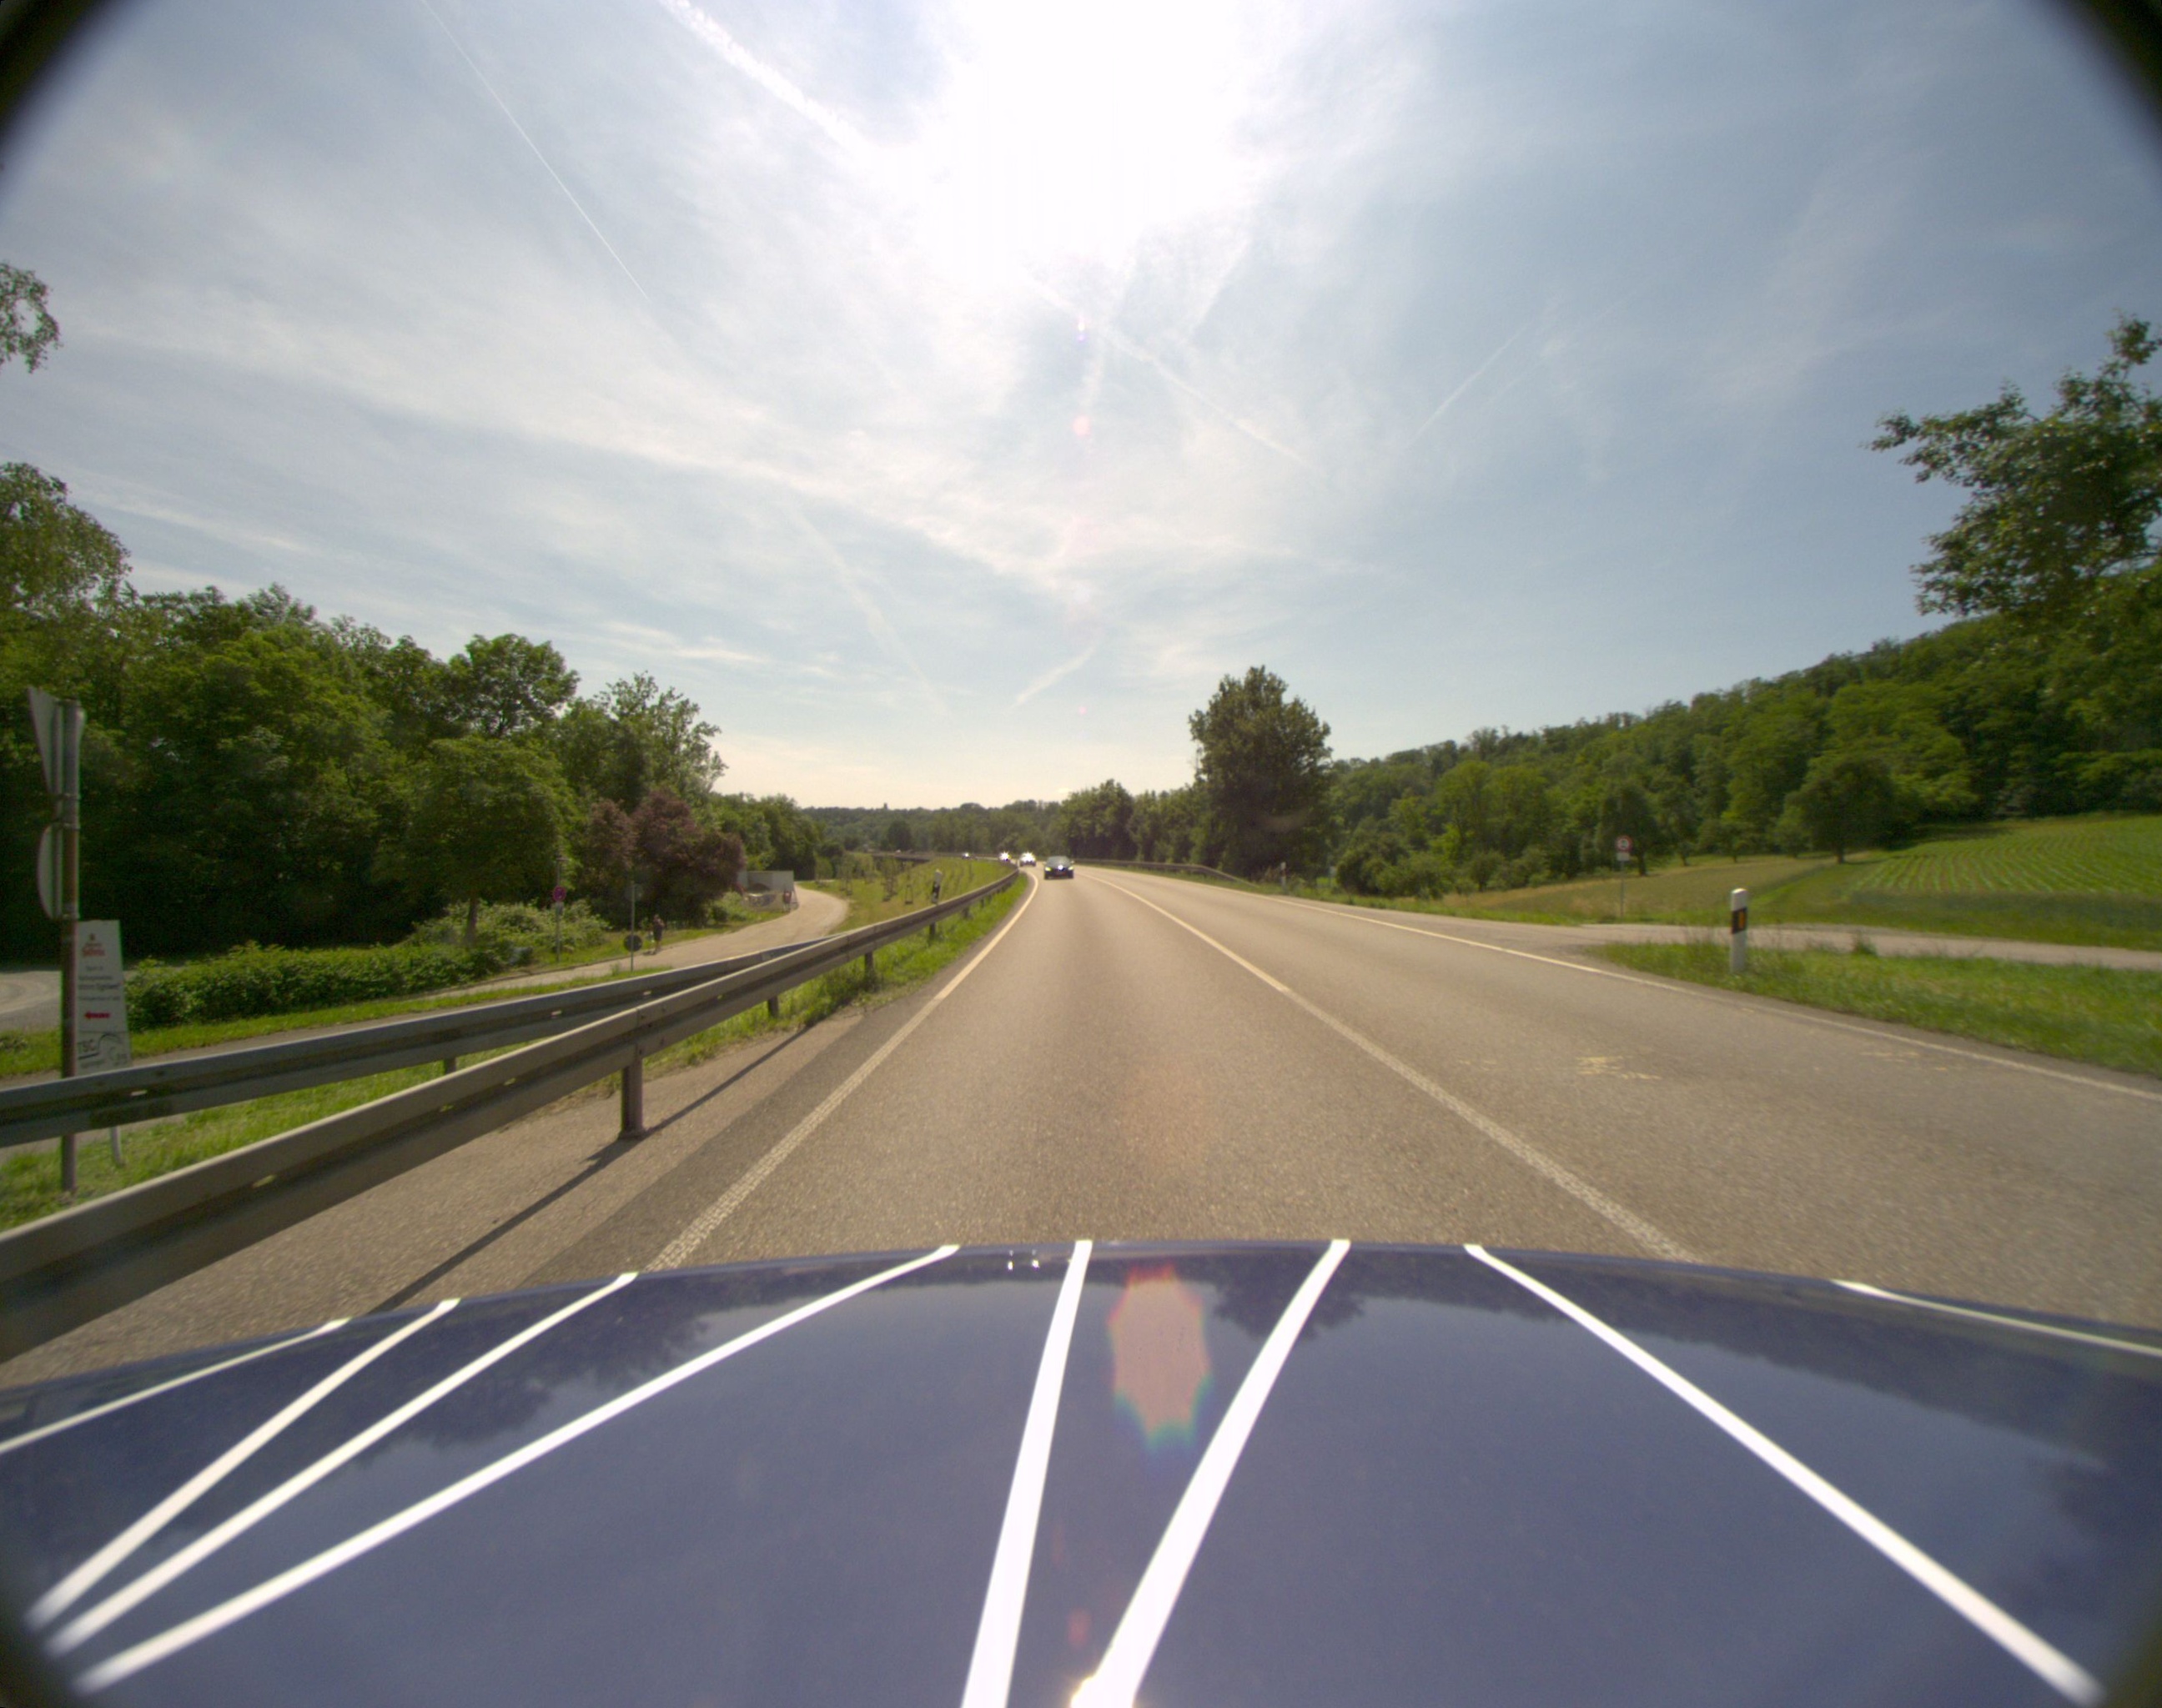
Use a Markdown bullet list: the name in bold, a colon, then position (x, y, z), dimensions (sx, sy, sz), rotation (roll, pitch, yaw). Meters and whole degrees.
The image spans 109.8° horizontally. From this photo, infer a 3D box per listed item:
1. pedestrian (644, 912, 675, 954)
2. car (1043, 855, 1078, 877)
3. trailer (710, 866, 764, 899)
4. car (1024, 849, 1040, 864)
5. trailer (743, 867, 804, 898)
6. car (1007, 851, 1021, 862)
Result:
- **pedestrian**: position (-19.235, 3.603, 34.662), dimensions (0.887, 1.800, 0.959), rotation (1, 0, -3)
- **car**: position (-1.335, 0.744, 48.324), dimensions (1.981, 1.333, 3.998), rotation (-1, 0, -4)
- **trailer**: position (-41.300, 3.330, 90.910), dimensions (2.732, 3.586, 11.862), rotation (-4, 2, -39)
- **car**: position (-6.289, 0.287, 96.922), dimensions (1.981, 1.779, 3.999), rotation (-1, 0, -4)
- **trailer**: position (-36.584, 3.272, 90.075), dimensions (2.732, 3.309, 11.862), rotation (-3, 1, -41)
- **car**: position (-11.735, 0.379, 132.549), dimensions (1.982, 1.723, 3.994), rotation (-2, 2, -12)
